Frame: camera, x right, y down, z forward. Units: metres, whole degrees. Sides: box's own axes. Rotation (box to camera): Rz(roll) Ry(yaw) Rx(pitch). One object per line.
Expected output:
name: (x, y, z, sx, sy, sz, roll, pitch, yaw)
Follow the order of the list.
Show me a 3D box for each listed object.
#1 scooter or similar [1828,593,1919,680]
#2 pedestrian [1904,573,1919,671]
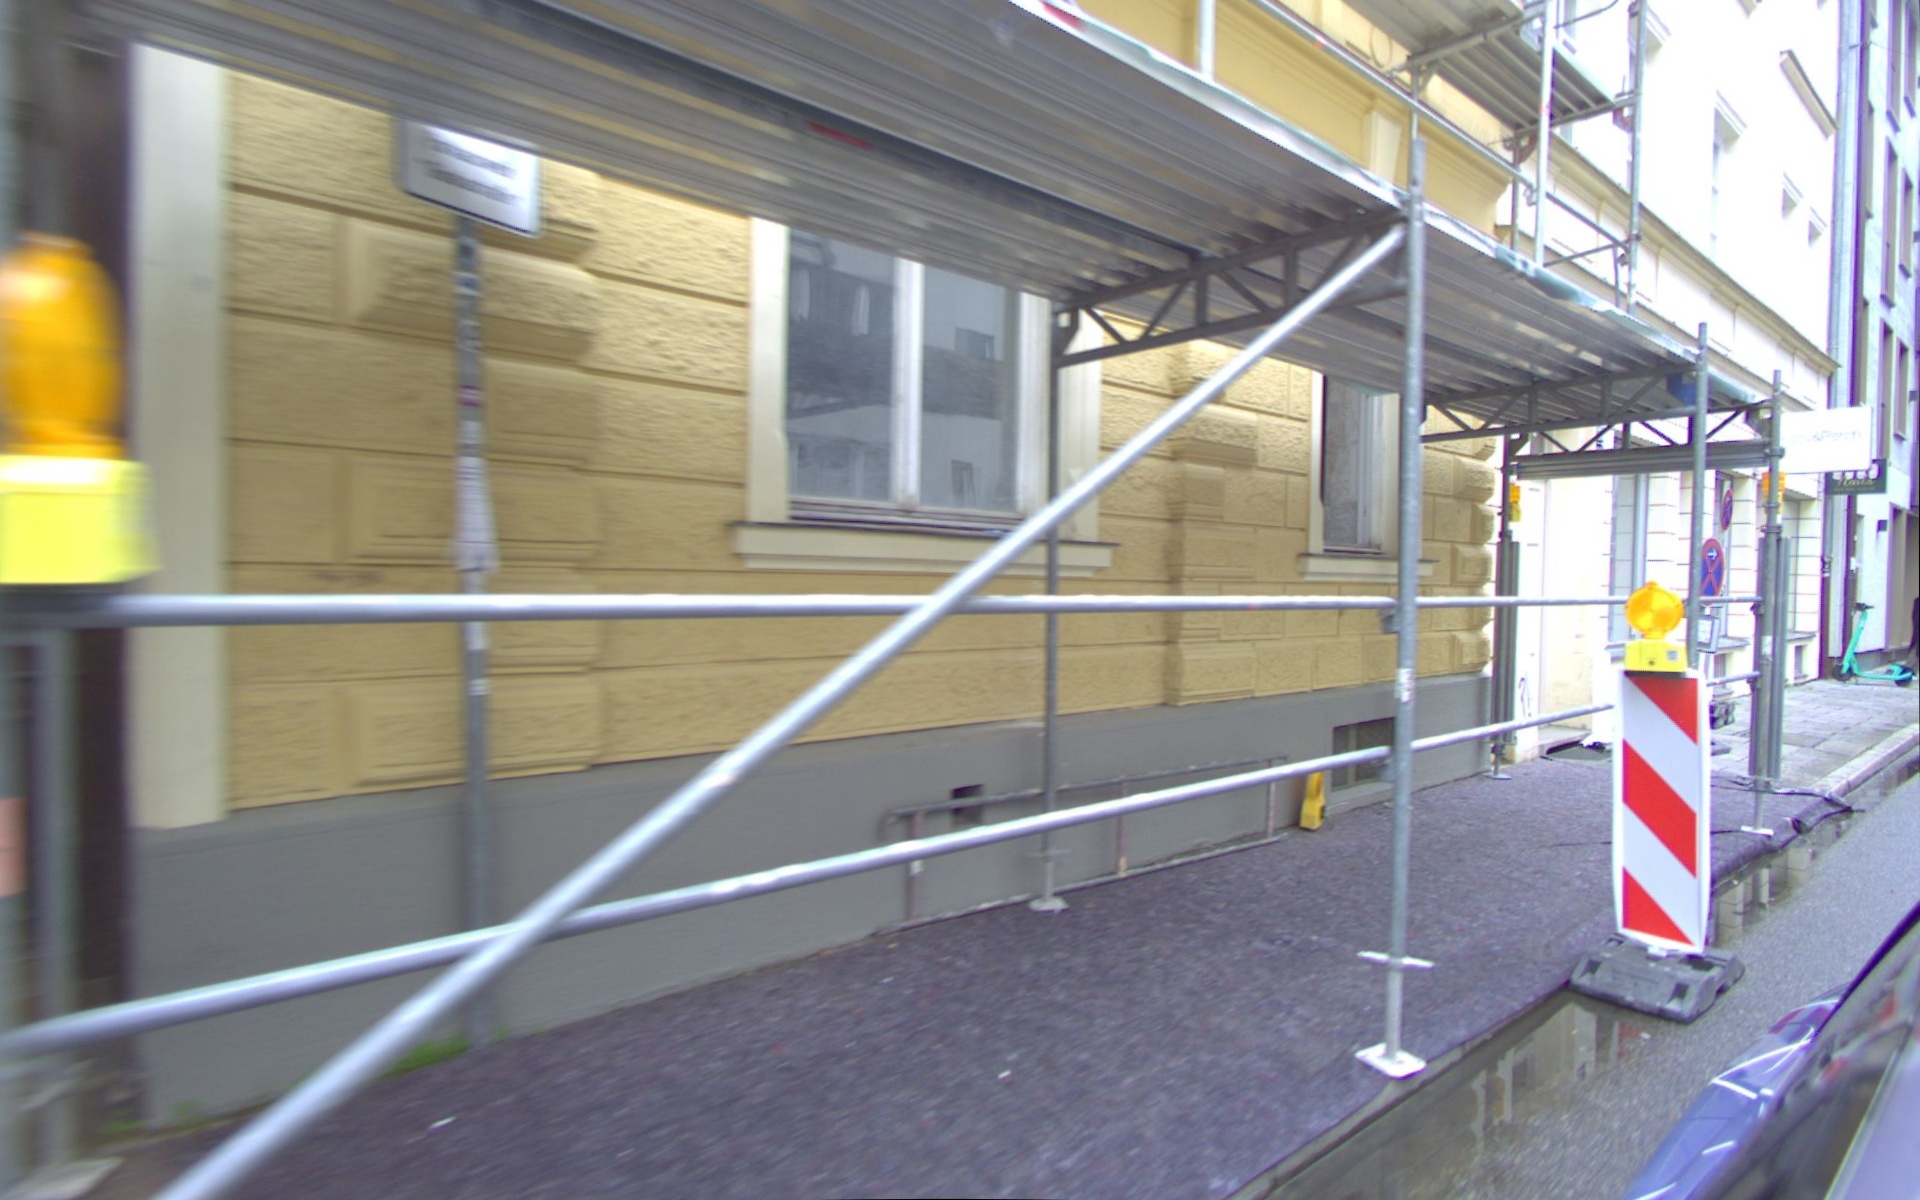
scooter or similar: (13.911, 0.550, 14.974, 1.578, 1.197, 0.495, 3, 3, 1)
pedestrian: (15.686, 0.313, 16.081, 0.535, 1.705, 0.663, 2, 6, -26)
